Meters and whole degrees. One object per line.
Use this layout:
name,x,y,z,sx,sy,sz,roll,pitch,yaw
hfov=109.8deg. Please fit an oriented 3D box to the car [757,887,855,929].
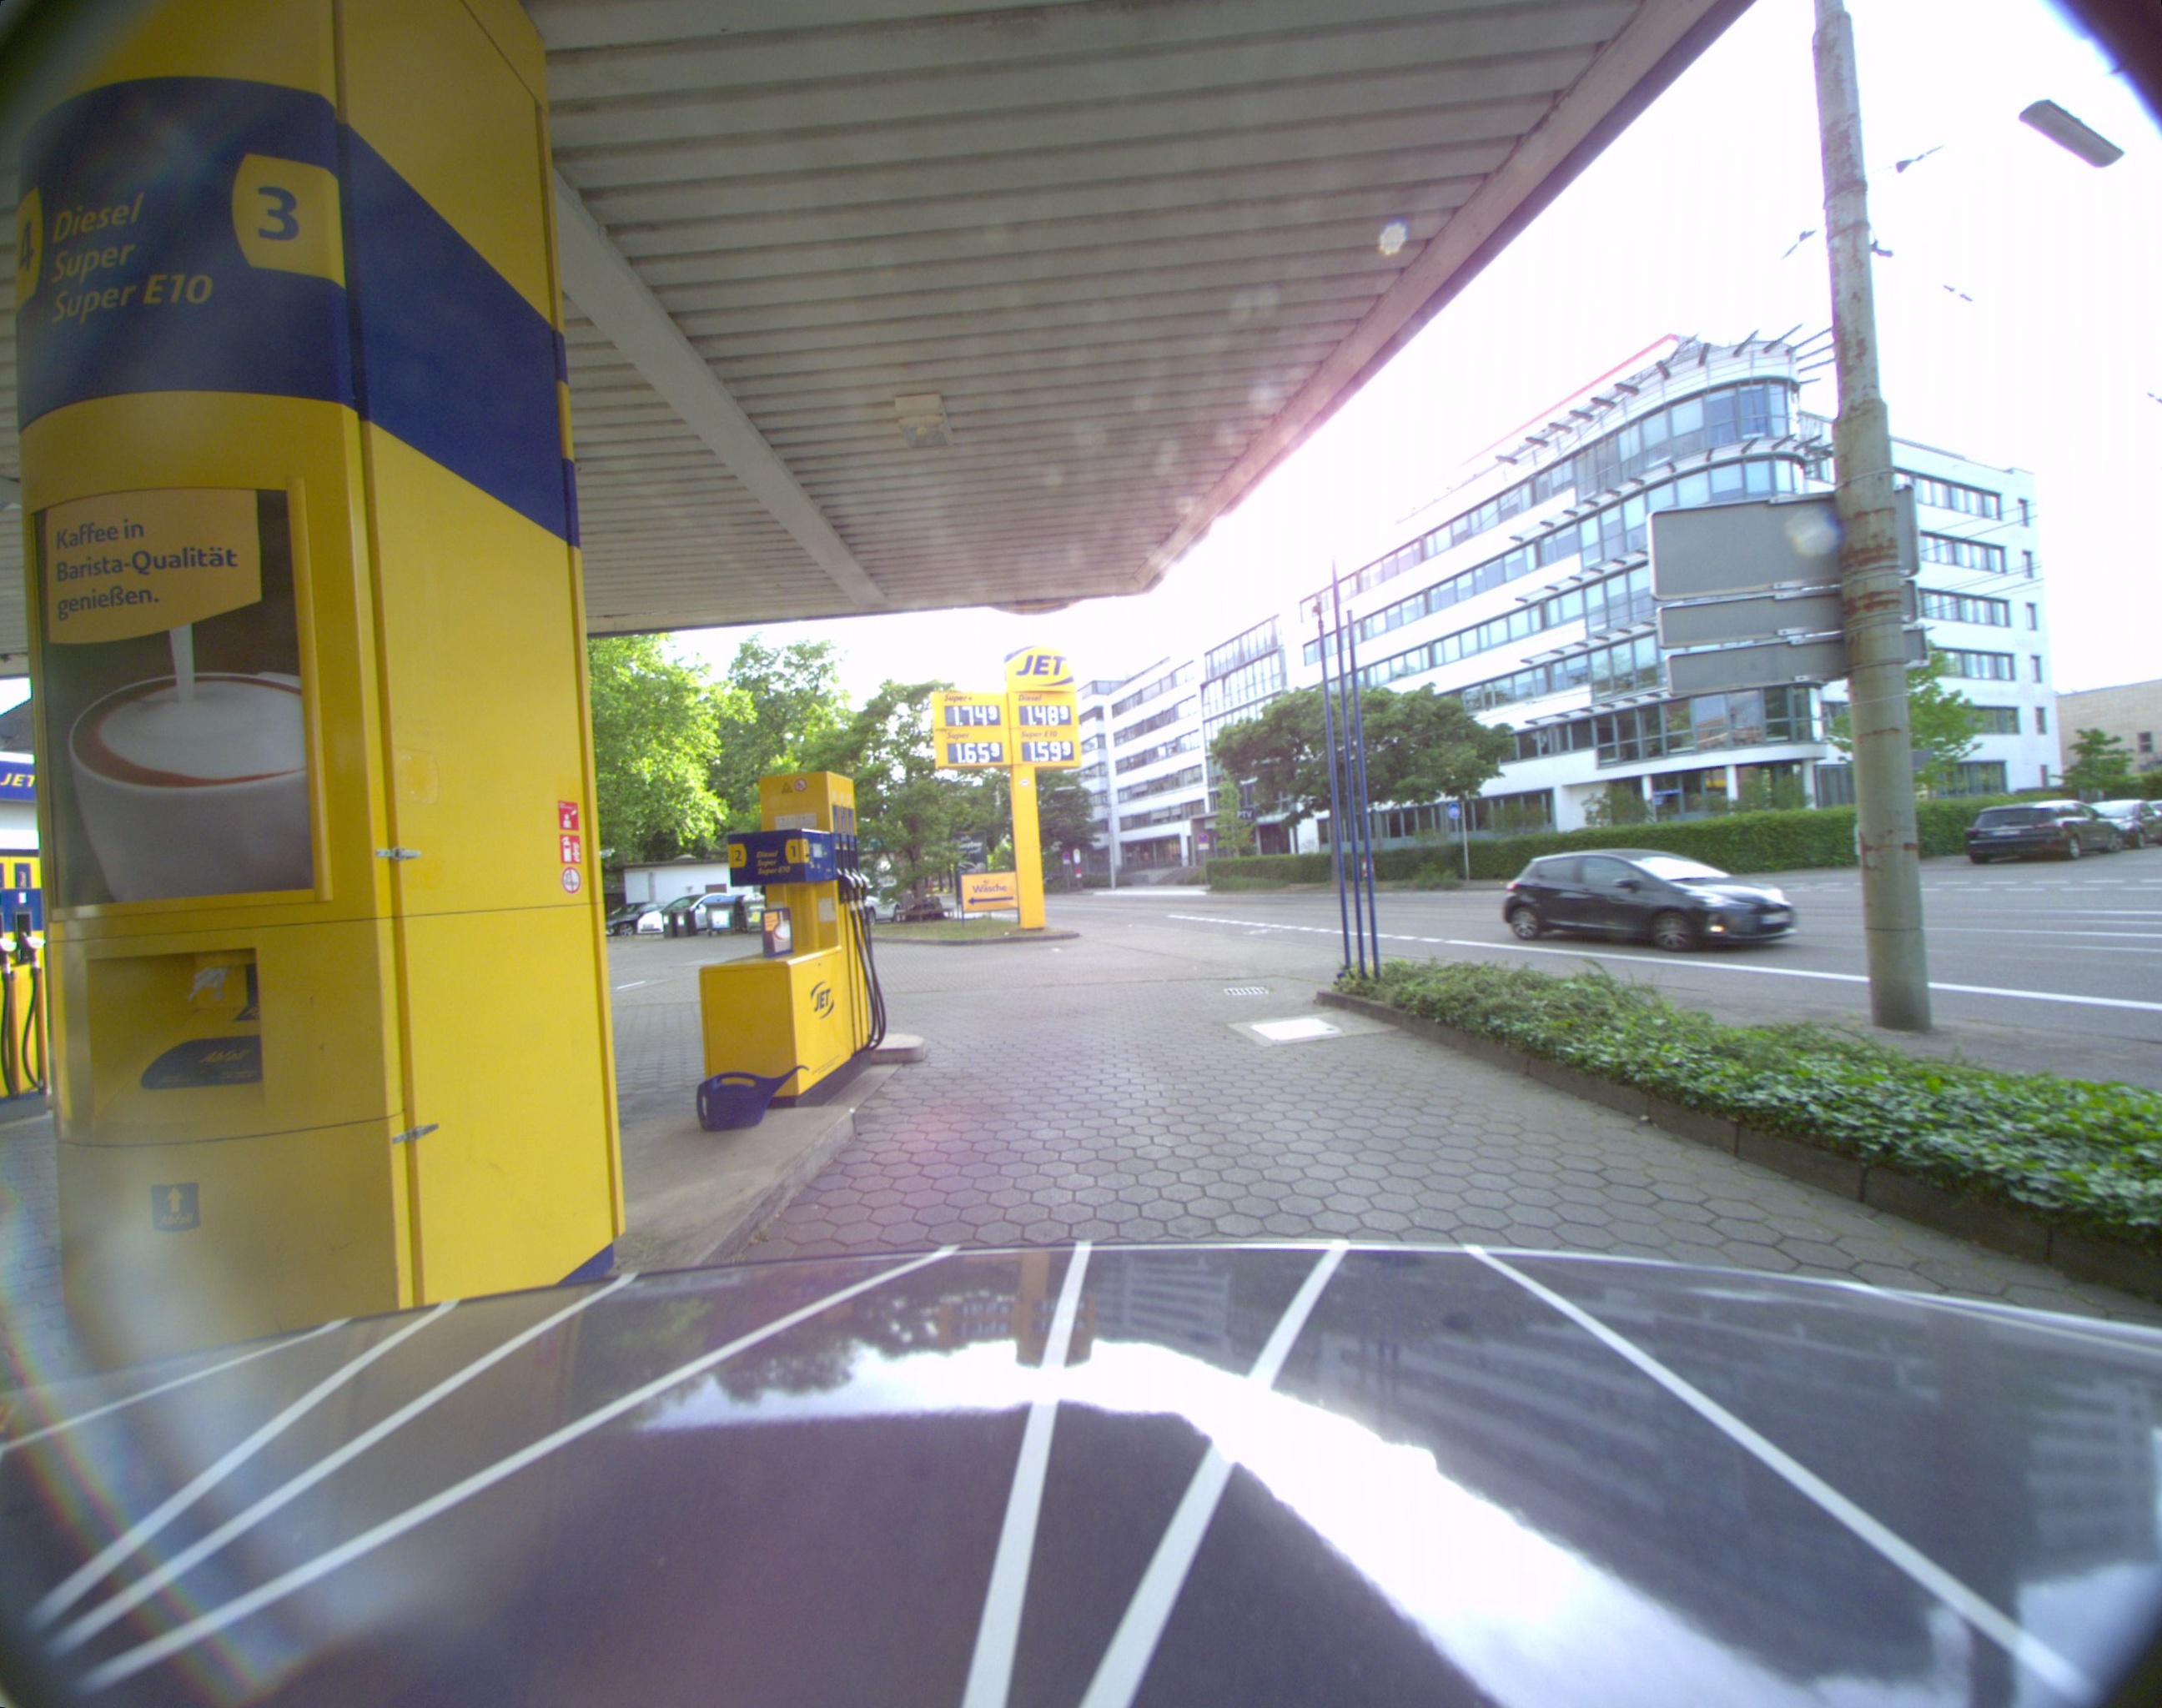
car,-11.653,2.260,32.498,1.771,1.591,4.400,-4,-4,13

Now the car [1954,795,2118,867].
car,27.275,-0.670,21.694,4.296,1.681,2.010,-4,-1,-27

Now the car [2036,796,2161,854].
car,32.547,-0.946,24.096,4.296,1.530,1.945,-4,-1,-27

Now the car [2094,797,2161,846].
car,37.129,-1.202,26.148,4.296,1.509,1.945,-4,-1,-27

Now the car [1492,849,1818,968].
car,8.875,0.790,12.186,1.691,1.463,3.807,-5,-1,-18

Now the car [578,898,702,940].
car,-17.793,2.583,30.913,1.771,1.367,4.398,-2,-1,14

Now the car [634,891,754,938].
car,-15.291,2.358,30.319,1.771,1.591,4.398,-2,-1,14

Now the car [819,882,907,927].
car,-8.635,1.995,30.507,1.772,1.591,4.398,-4,-4,6
